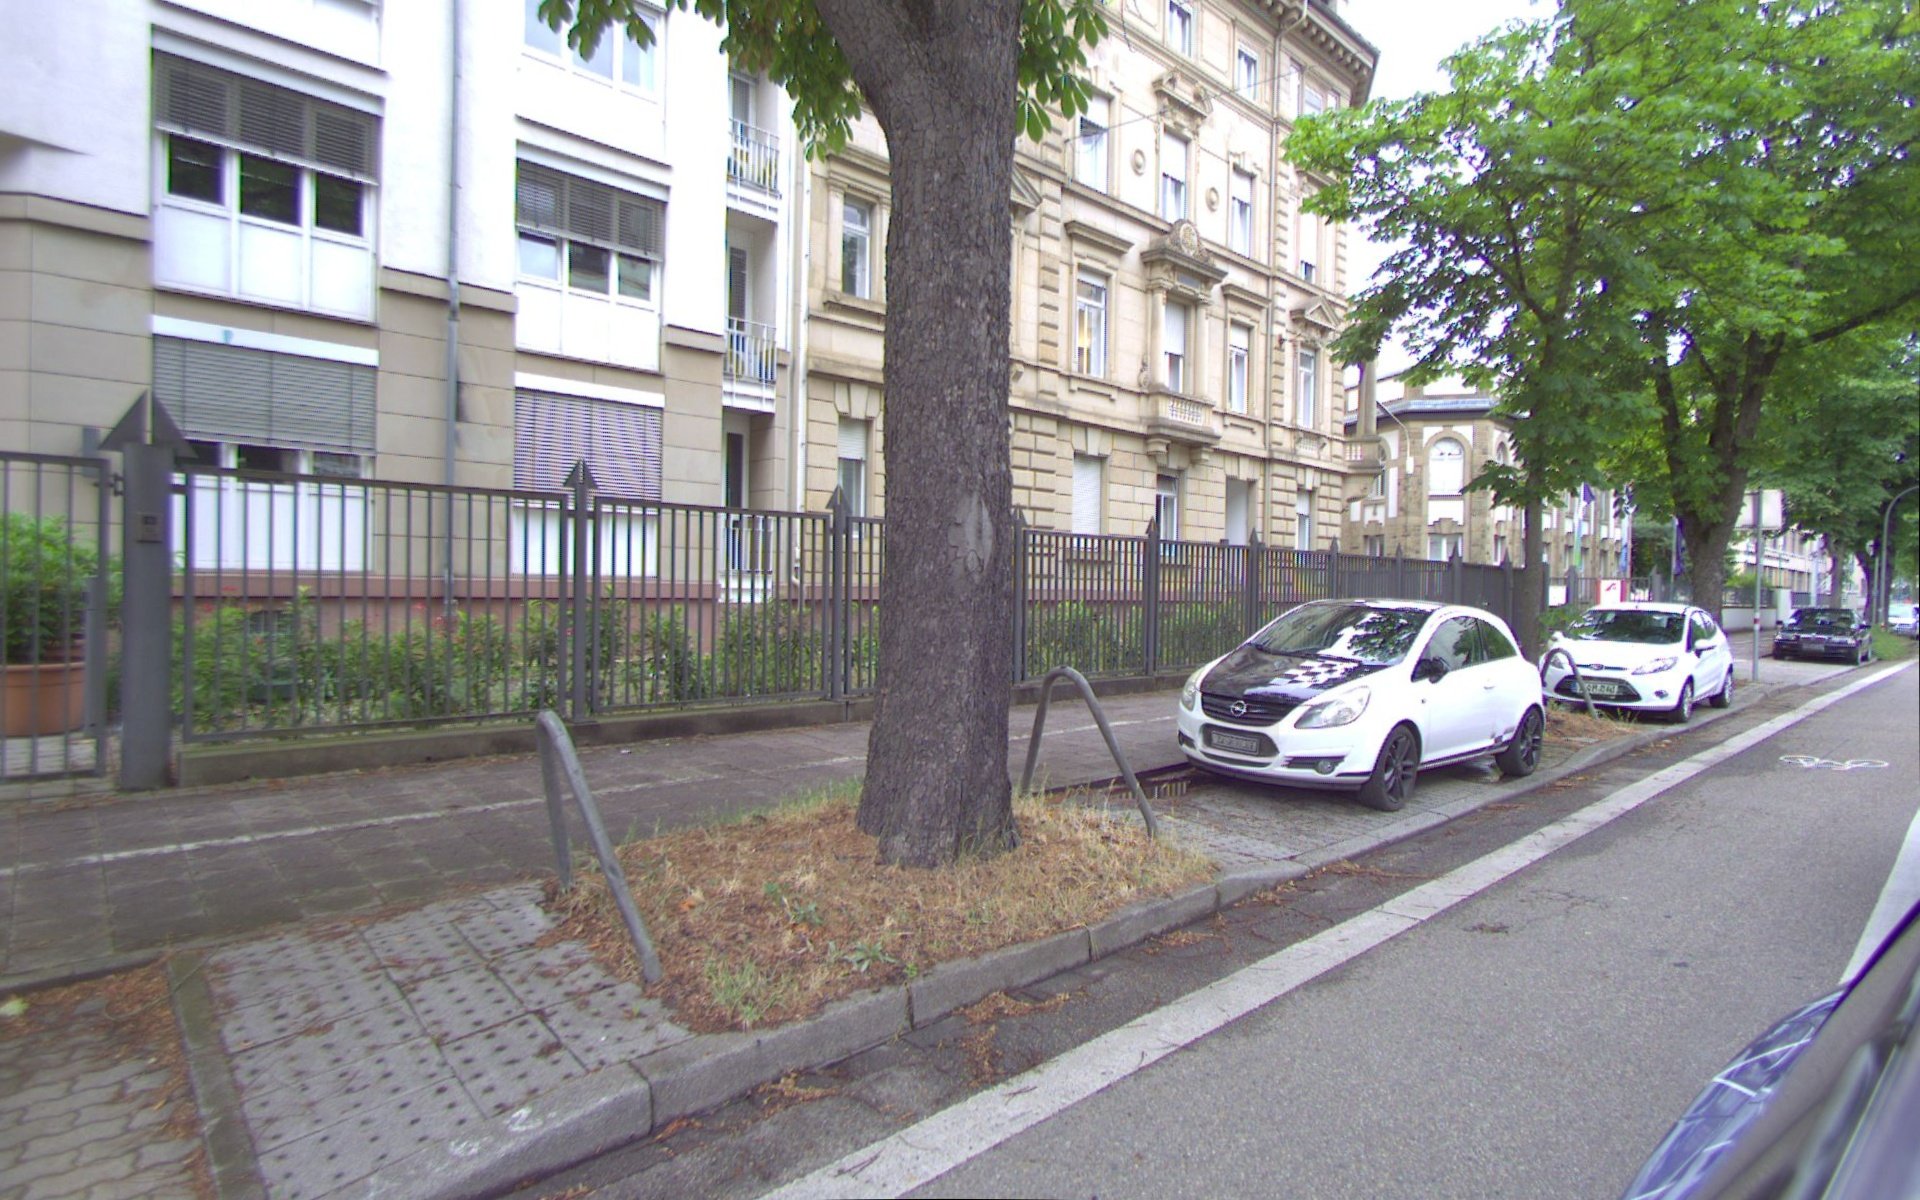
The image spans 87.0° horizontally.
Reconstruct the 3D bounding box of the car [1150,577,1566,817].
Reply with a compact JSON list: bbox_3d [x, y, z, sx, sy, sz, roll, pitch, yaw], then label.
[{"bbox_3d":[3.362,0.601,8.235,3.711,1.453,1.605,0,3,-42],"label":"car"}]

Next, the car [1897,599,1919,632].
[{"bbox_3d":[44.153,0.715,46.250,3.771,1.442,1.605,0,3,-43],"label":"car"}]

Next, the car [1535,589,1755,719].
[{"bbox_3d":[9.422,0.629,13.818,3.700,1.453,1.630,0,3,-43],"label":"car"}]

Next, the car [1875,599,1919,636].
[{"bbox_3d":[38.801,0.702,41.408,3.771,1.387,1.605,0,3,-43],"label":"car"}]

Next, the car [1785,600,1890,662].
[{"bbox_3d":[22.772,0.745,26.223,3.771,1.387,1.605,0,3,-43],"label":"car"}]

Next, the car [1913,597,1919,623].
[{"bbox_3d":[52.919,0.587,54.777,3.771,1.387,1.605,0,3,-43],"label":"car"}]
